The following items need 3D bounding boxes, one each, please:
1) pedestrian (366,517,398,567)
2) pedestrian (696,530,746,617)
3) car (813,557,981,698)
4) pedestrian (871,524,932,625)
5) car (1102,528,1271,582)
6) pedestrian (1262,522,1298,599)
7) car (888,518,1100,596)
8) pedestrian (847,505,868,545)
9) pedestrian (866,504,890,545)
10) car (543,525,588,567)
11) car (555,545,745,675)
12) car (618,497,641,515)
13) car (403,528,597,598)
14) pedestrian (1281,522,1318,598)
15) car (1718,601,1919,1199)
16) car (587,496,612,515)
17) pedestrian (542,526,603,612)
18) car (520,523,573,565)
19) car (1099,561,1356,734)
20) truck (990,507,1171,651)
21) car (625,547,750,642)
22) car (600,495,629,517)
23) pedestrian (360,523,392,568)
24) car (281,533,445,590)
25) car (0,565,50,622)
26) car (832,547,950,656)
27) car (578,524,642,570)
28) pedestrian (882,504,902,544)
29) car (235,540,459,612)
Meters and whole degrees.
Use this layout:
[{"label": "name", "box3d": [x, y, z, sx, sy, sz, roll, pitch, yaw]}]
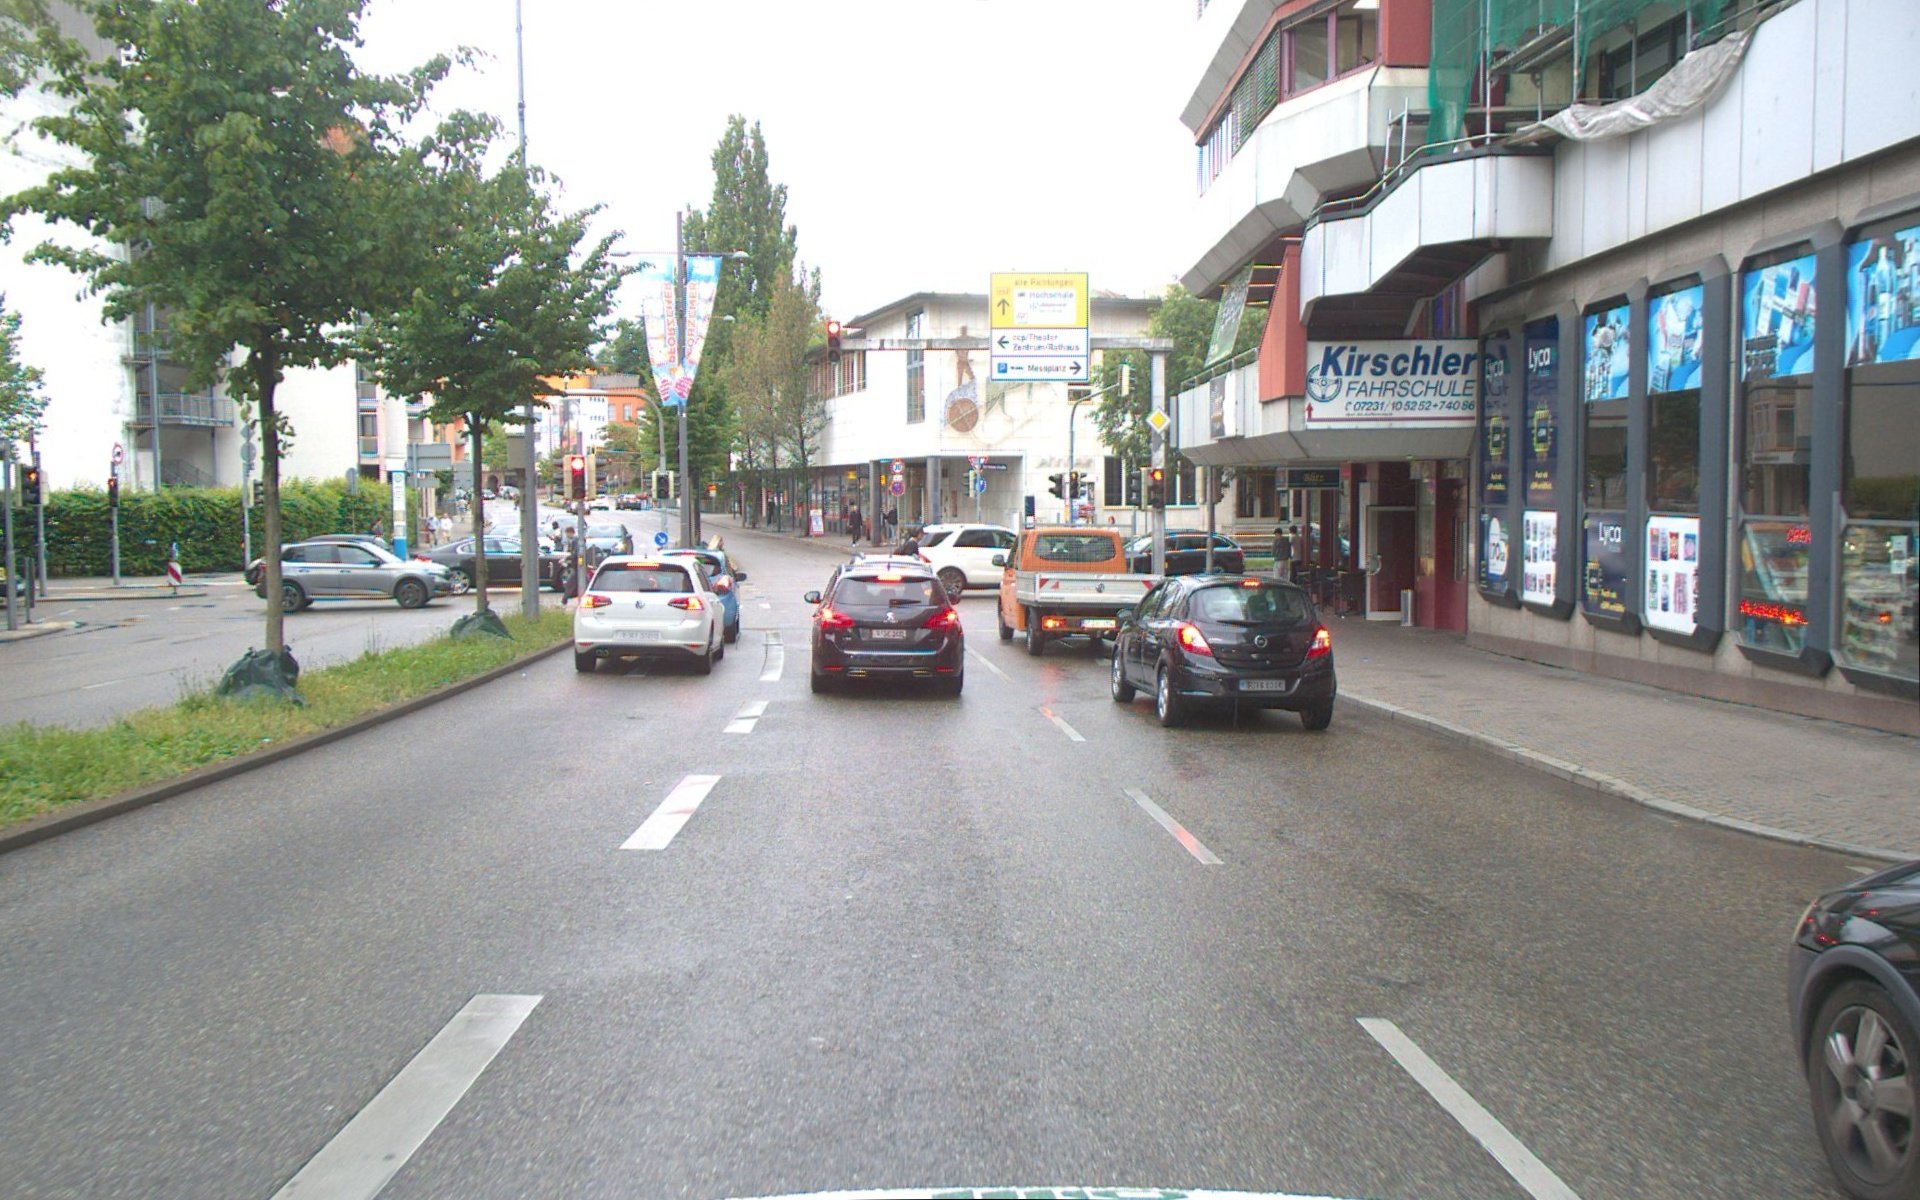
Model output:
[{"label": "pedestrian", "box3d": [-21.492, -2.172, 61.528, 0.898, 1.834, 0.618, -2, 1, -43]}, {"label": "pedestrian", "box3d": [-4.930, -0.544, 34.152, 0.818, 1.752, 0.819, -1, 1, 5]}, {"label": "car", "box3d": [-0.857, 0.252, 20.018, 1.777, 1.466, 3.996, 1, 2, -6]}, {"label": "pedestrian", "box3d": [-1.127, -0.499, 31.997, 1.040, 1.914, 0.839, -1, 1, 5]}, {"label": "car", "box3d": [6.357, -1.257, 46.662, 4.324, 1.461, 1.992, 0, 1, -15]}, {"label": "pedestrian", "box3d": [7.278, -0.899, 37.642, 0.565, 1.729, 0.649, -2, 1, -12]}, {"label": "car", "box3d": [0.829, -1.054, 41.555, 4.985, 1.789, 1.993, 1, 1, -14]}, {"label": "pedestrian", "box3d": [-4.776, -3.477, 76.985, 0.785, 1.834, 0.914, -2, 1, -16]}, {"label": "pedestrian", "box3d": [-3.797, -3.486, 76.608, 0.832, 1.834, 1.052, -2, 1, -16]}, {"label": "car", "box3d": [-17.015, -2.299, 71.456, 1.674, 1.750, 3.990, 0, 1, -10]}, {"label": "car", "box3d": [-4.058, 0.078, 22.313, 1.910, 1.601, 3.999, 0, 1, -2]}, {"label": "car", "box3d": [-31.293, -8.892, 156.591, 1.802, 1.616, 3.857, 0, 1, -16]}, {"label": "car", "box3d": [-11.820, -0.939, 42.532, 4.620, 1.672, 1.774, 1, 1, -24]}, {"label": "pedestrian", "box3d": [7.829, -0.929, 38.177, 0.566, 1.729, 0.648, -2, 1, -16]}, {"label": "car", "box3d": [3.054, 0.758, 2.889, 1.682, 1.445, 3.769, 0, 1, -1]}, {"label": "car", "box3d": [-33.768, -8.853, 155.017, 1.962, 1.623, 3.981, 0, 1, -17]}, {"label": "pedestrian", "box3d": [-8.090, -0.646, 34.550, 0.989, 1.752, 0.839, -1, 1, 3]}, {"label": "car", "box3d": [-16.148, -2.183, 64.775, 1.745, 1.576, 3.990, 0, 1, -10]}, {"label": "car", "box3d": [2.646, 0.393, 17.317, 1.911, 1.601, 3.999, 0, 1, -2]}, {"label": "truck", "box3d": [1.830, -0.379, 27.126, 2.141, 2.118, 5.598, 0, 1, -5]}, {"label": "car", "box3d": [-4.558, -0.140, 28.119, 1.759, 1.493, 3.997, 0, 2, -5]}, {"label": "car", "box3d": [-34.161, -9.262, 163.383, 1.968, 2.048, 3.970, -1, 1, -24]}, {"label": "pedestrian", "box3d": [-21.205, -1.977, 60.035, 0.918, 1.636, 0.555, -2, 1, -43]}, {"label": "car", "box3d": [-16.492, -1.066, 45.853, 3.910, 1.554, 1.845, 0, 1, -6]}, {"label": "car", "box3d": [-24.325, -0.193, 38.773, 4.912, 1.294, 1.758, 1, 1, -14]}, {"label": "car", "box3d": [-1.168, -0.039, 26.329, 1.726, 1.569, 3.997, 0, 2, -5]}, {"label": "car", "box3d": [-12.279, -1.845, 58.241, 1.785, 1.576, 3.995, 0, 1, -6]}, {"label": "pedestrian", "box3d": [-3.154, -3.527, 77.047, 0.691, 1.834, 0.934, -2, 1, -16]}, {"label": "car", "box3d": [-13.794, -0.543, 37.488, 4.513, 1.508, 1.935, 1, 1, -14]}]
